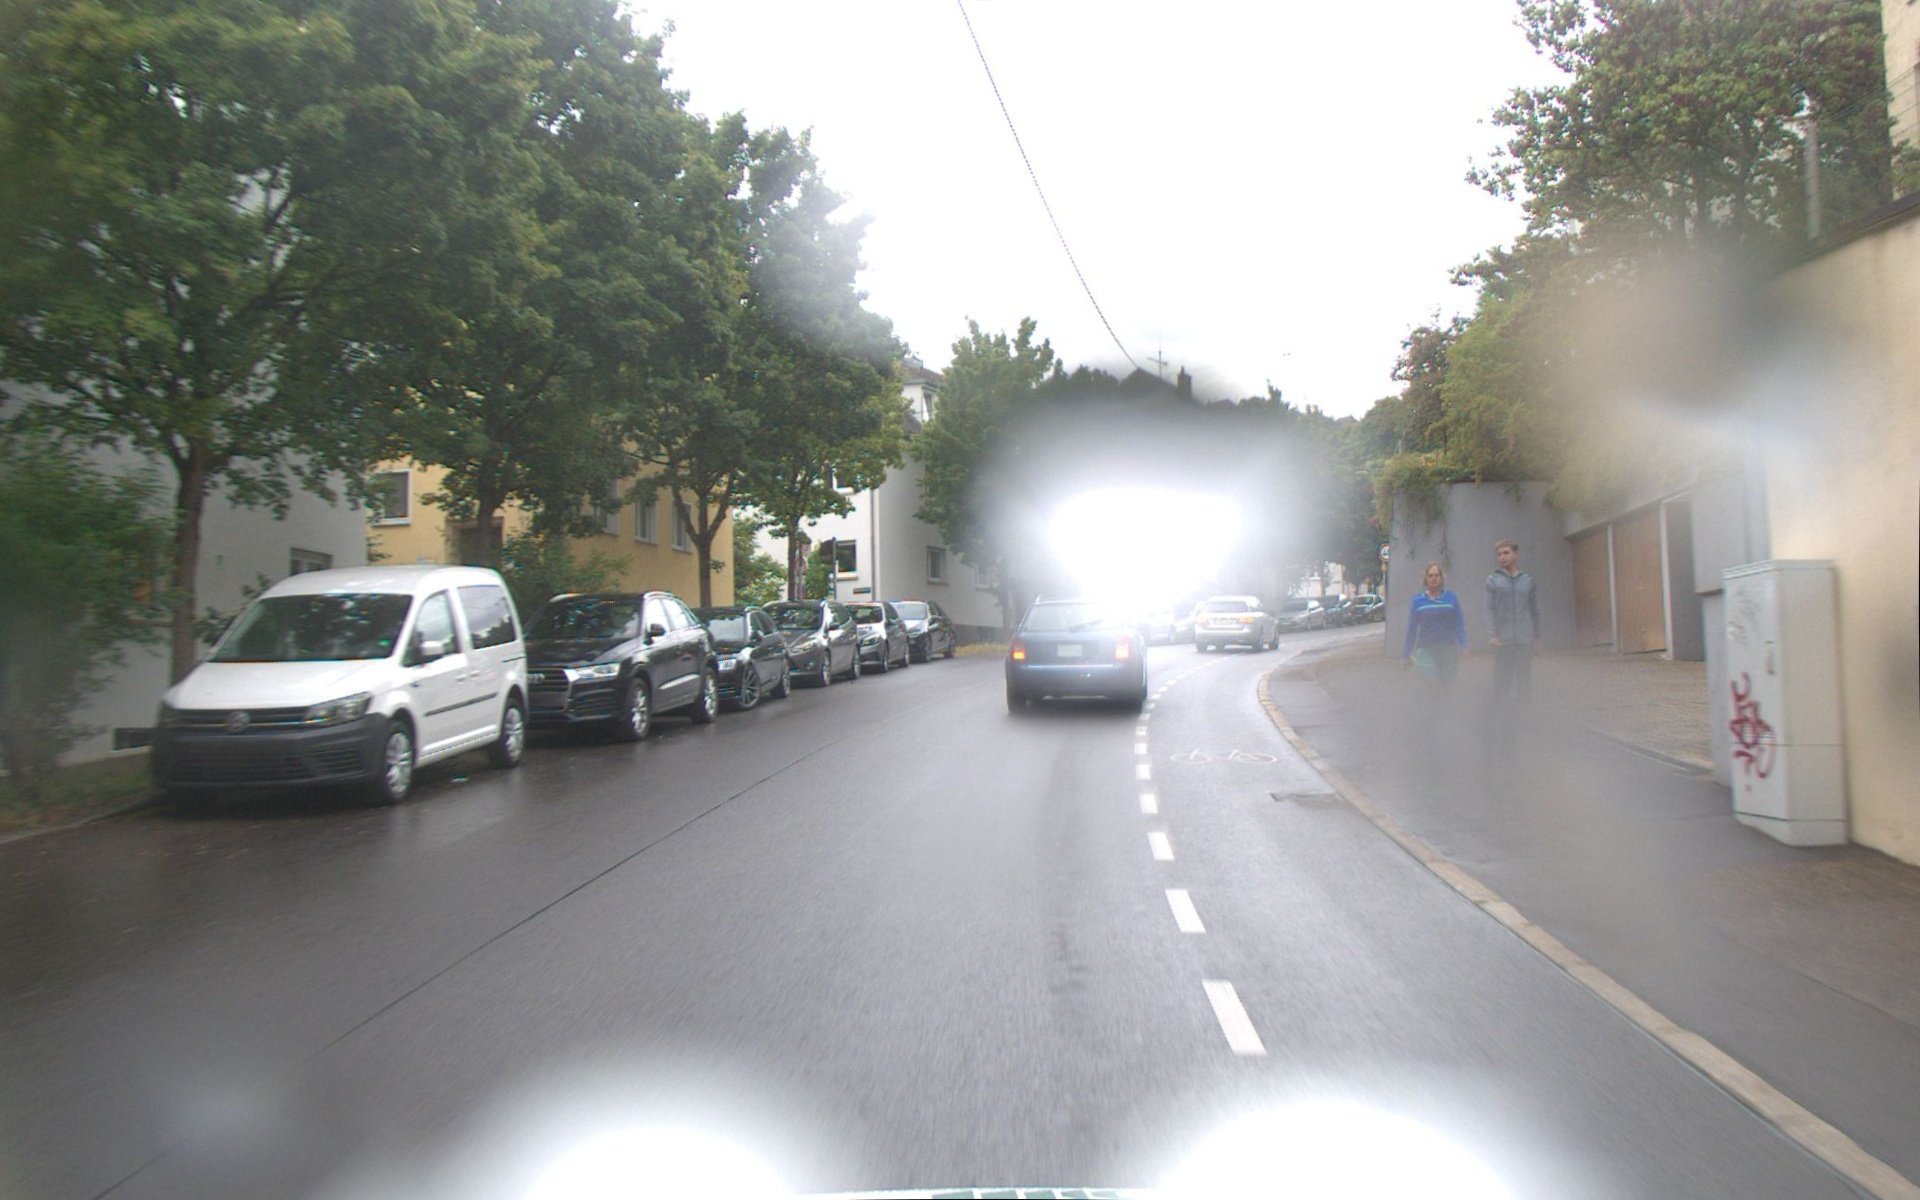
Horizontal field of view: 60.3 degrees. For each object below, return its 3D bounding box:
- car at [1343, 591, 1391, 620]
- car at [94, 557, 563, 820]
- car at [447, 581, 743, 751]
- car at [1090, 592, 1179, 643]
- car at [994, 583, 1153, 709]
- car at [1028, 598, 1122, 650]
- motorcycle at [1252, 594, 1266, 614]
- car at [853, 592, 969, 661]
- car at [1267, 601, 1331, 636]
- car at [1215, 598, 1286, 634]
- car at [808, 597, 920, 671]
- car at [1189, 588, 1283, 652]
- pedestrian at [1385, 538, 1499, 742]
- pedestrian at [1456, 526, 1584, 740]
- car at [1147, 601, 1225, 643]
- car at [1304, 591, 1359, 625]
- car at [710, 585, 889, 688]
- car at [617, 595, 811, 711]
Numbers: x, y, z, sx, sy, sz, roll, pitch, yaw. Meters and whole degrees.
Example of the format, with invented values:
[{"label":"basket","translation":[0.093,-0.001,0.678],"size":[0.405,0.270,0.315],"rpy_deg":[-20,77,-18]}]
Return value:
[{"label":"car","translation":[22.678,0.302,91.972],"size":[1.680,1.488,3.876],"rpy_deg":[-1,1,28]},{"label":"car","translation":[-4.950,0.623,13.759],"size":[1.814,1.808,4.485],"rpy_deg":[-1,0,5]},{"label":"car","translation":[-4.034,0.682,19.140],"size":[1.814,1.697,4.591],"rpy_deg":[-1,0,8]},{"label":"car","translation":[6.429,0.667,60.552],"size":[1.750,1.675,4.341],"rpy_deg":[-6,-3,26]},{"label":"car","translation":[1.597,0.552,21.820],"size":[1.814,1.438,4.365],"rpy_deg":[-2,0,7]},{"label":"car","translation":[3.895,0.834,55.243],"size":[1.748,1.541,4.344],"rpy_deg":[-5,-3,23]},{"label":"motorcycle","translation":[16.799,0.212,92.917],"size":[0.402,1.118,1.620],"rpy_deg":[-4,-1,22]},{"label":"car","translation":[-1.117,0.626,40.079],"size":[1.737,1.567,4.520],"rpy_deg":[-1,0,13]},{"label":"car","translation":[16.377,0.910,79.778],"size":[1.769,1.579,4.793],"rpy_deg":[-2,-2,27]},{"label":"car","translation":[12.410,0.705,70.426],"size":[1.769,1.479,4.592],"rpy_deg":[-1,-2,26]},{"label":"car","translation":[-1.951,0.677,34.858],"size":[1.579,1.421,4.326],"rpy_deg":[-1,0,7]},{"label":"car","translation":[7.596,0.504,45.302],"size":[1.909,1.588,4.265],"rpy_deg":[1,1,18]},{"label":"pedestrian","translation":[4.446,0.365,15.325],"size":[0.759,1.789,1.012],"rpy_deg":[-2,-1,5]},{"label":"pedestrian","translation":[5.132,0.301,15.242],"size":[0.759,1.864,1.252],"rpy_deg":[-2,-1,5]},{"label":"car","translation":[8.984,0.881,65.453],"size":[1.769,1.511,4.232],"rpy_deg":[-5,-3,25]},{"label":"car","translation":[19.196,0.391,85.405],"size":[1.770,1.655,4.134],"rpy_deg":[-2,-1,27]},{"label":"car","translation":[-2.798,0.611,29.893],"size":[1.814,1.720,4.558],"rpy_deg":[-1,0,13]},{"label":"car","translation":[-3.483,0.697,24.340],"size":[1.815,1.525,4.743],"rpy_deg":[0,0,4]}]
